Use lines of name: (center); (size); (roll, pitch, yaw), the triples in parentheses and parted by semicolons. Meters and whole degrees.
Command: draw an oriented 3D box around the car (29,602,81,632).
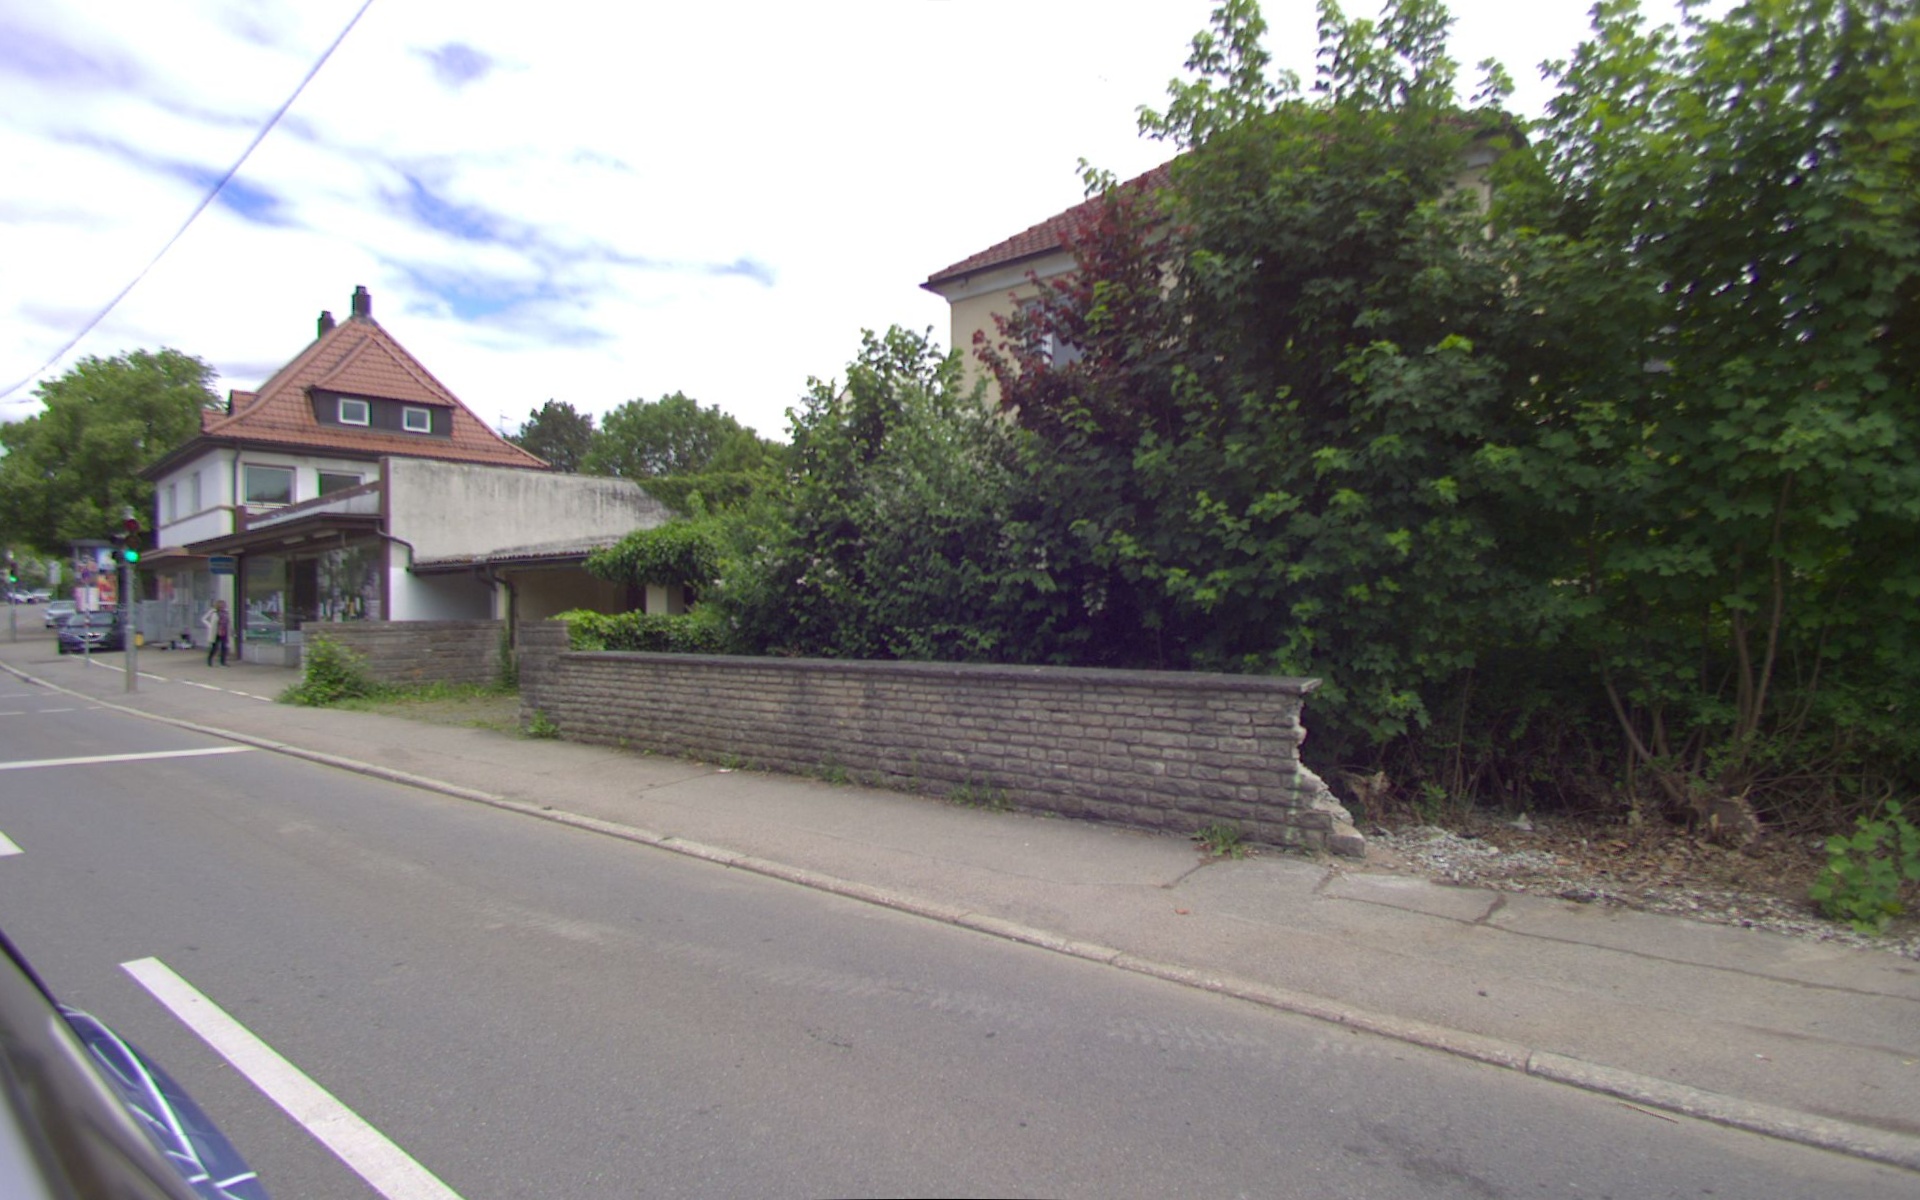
car: (-53.847, 0.984, 60.175); (3.997, 1.690, 1.749); (0, 1, 40)

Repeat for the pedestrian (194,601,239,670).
pedestrian: (-19.422, 0.906, 26.434); (0.604, 1.757, 0.811); (0, 1, 41)

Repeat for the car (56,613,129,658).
car: (-30.224, 1.206, 35.323); (1.796, 1.361, 3.398); (-2, 2, -39)

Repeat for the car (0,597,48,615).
car: (-99.929, 0.616, 107.842); (3.935, 1.752, 2.004); (-2, 1, -37)
